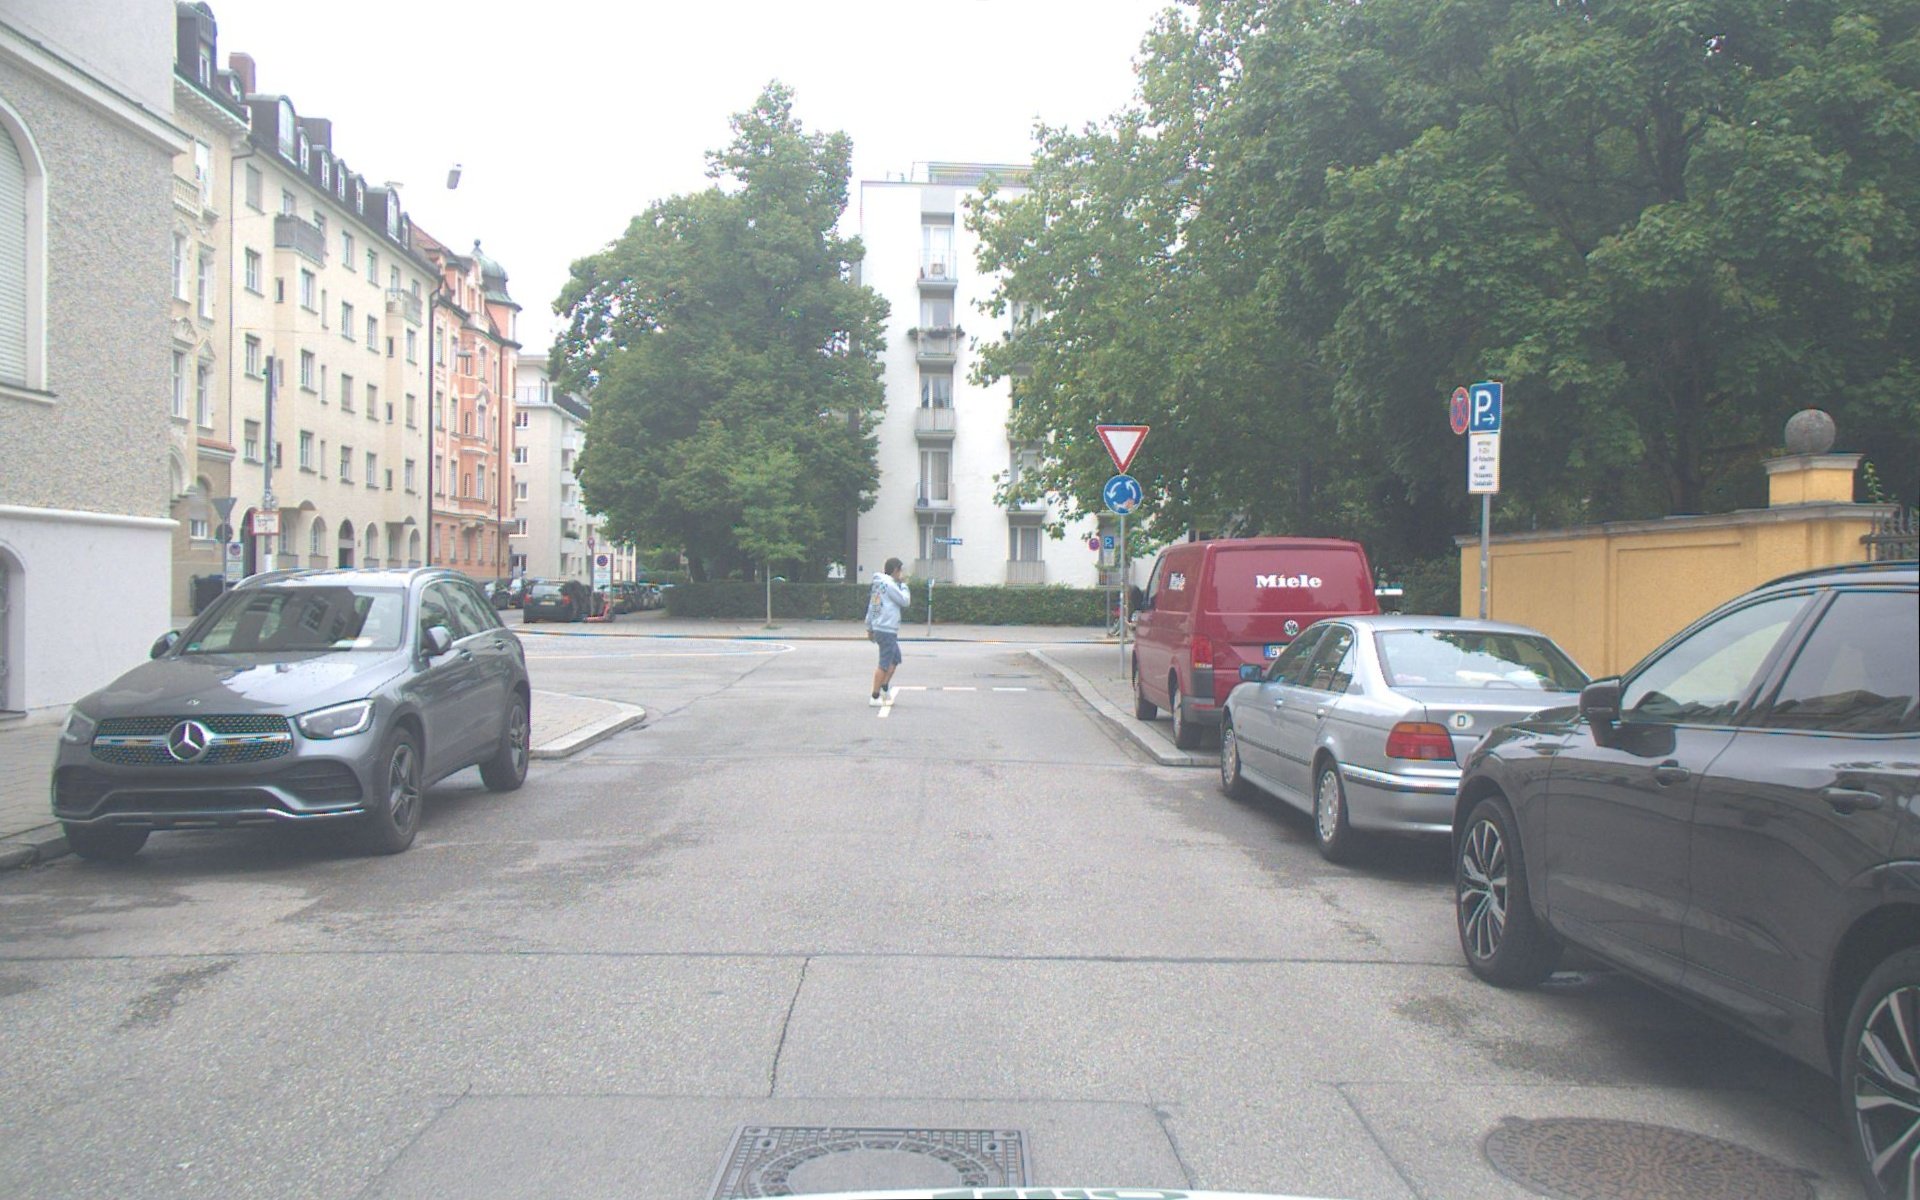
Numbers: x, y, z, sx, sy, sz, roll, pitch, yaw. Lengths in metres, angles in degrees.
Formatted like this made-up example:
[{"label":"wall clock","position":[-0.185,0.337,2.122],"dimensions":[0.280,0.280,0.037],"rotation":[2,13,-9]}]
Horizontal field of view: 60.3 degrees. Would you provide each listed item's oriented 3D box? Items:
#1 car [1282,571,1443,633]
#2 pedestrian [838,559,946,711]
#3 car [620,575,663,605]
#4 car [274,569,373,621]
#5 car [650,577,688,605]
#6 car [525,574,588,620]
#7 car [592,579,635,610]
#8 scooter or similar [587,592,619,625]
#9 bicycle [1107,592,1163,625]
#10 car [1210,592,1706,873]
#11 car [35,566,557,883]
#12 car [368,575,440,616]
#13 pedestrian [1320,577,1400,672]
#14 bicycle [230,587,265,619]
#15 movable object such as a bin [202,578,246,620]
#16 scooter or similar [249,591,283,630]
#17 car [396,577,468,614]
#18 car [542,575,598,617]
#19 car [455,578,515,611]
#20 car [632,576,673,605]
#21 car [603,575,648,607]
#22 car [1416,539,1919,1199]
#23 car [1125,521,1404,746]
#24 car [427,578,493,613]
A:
[{"label":"car","position":[12.958,0.071,53.317],"dimensions":[4.745,1.952,1.831],"rotation":[0,-1,-10]},{"label":"pedestrian","position":[-0.839,0.408,20.255],"dimensions":[1.039,1.802,0.867],"rotation":[0,0,-33]},{"label":"car","position":[-18.343,-0.568,95.432],"dimensions":[1.798,1.663,3.819],"rotation":[-1,1,-2]},{"label":"car","position":[-22.345,-0.213,58.256],"dimensions":[1.937,1.730,4.836],"rotation":[1,1,-5]},{"label":"car","position":[-18.386,-0.595,104.561],"dimensions":[1.798,1.663,3.819],"rotation":[-1,1,-2]},{"label":"car","position":[-14.281,-0.127,58.688],"dimensions":[1.785,1.531,4.413],"rotation":[-1,1,-9]},{"label":"car","position":[-17.800,-0.296,85.173],"dimensions":[1.800,1.531,4.109],"rotation":[-1,1,-7]},{"label":"scooter or similar","position":[-12.105,0.294,56.114],"dimensions":[0.989,1.107,0.386],"rotation":[0,0,-32]},{"label":"bicycle","position":[5.790,0.270,54.629],"dimensions":[1.794,1.067,0.490],"rotation":[0,1,-15]},{"label":"car","position":[3.114,0.732,11.391],"dimensions":[1.847,1.474,4.366],"rotation":[2,1,-3]},{"label":"car","position":[-4.035,0.626,10.950],"dimensions":[1.711,1.630,4.495],"rotation":[-1,1,-2]},{"label":"car","position":[-23.083,-0.218,68.790],"dimensions":[1.938,1.644,4.705],"rotation":[1,1,-7]},{"label":"pedestrian","position":[5.840,0.351,24.209],"dimensions":[0.988,1.361,0.877],"rotation":[0,0,3]},{"label":"bicycle","position":[-24.014,0.098,55.761],"dimensions":[0.552,1.067,1.829],"rotation":[0,1,-5]},{"label":"movable object such as a bin","position":[-25.990,-0.050,58.408],"dimensions":[1.069,1.450,1.173],"rotation":[0,0,-3]},{"label":"scooter or similar","position":[-22.262,0.337,53.047],"dimensions":[1.191,1.214,0.466],"rotation":[1,0,35]},{"label":"car","position":[-23.469,-0.227,73.656],"dimensions":[1.936,1.608,4.406],"rotation":[1,1,-3]},{"label":"car","position":[-15.030,-0.167,63.890],"dimensions":[1.760,1.531,4.226],"rotation":[-1,1,-9]},{"label":"car","position":[-24.026,-0.278,83.804],"dimensions":[1.936,1.608,4.406],"rotation":[1,1,-2]},{"label":"car","position":[-18.468,-0.577,99.474],"dimensions":[1.798,1.663,3.819],"rotation":[-1,1,-2]},{"label":"car","position":[-18.128,-0.485,89.770],"dimensions":[1.798,1.663,4.113],"rotation":[-1,1,-3]},{"label":"car","position":[3.158,0.708,5.294],"dimensions":[1.847,1.681,4.822],"rotation":[2,1,-2]},{"label":"car","position":[2.949,0.266,17.118],"dimensions":[1.836,1.954,4.886],"rotation":[1,1,-1]},{"label":"car","position":[-23.778,-0.252,78.812],"dimensions":[1.936,1.608,4.406],"rotation":[1,1,-3]}]
